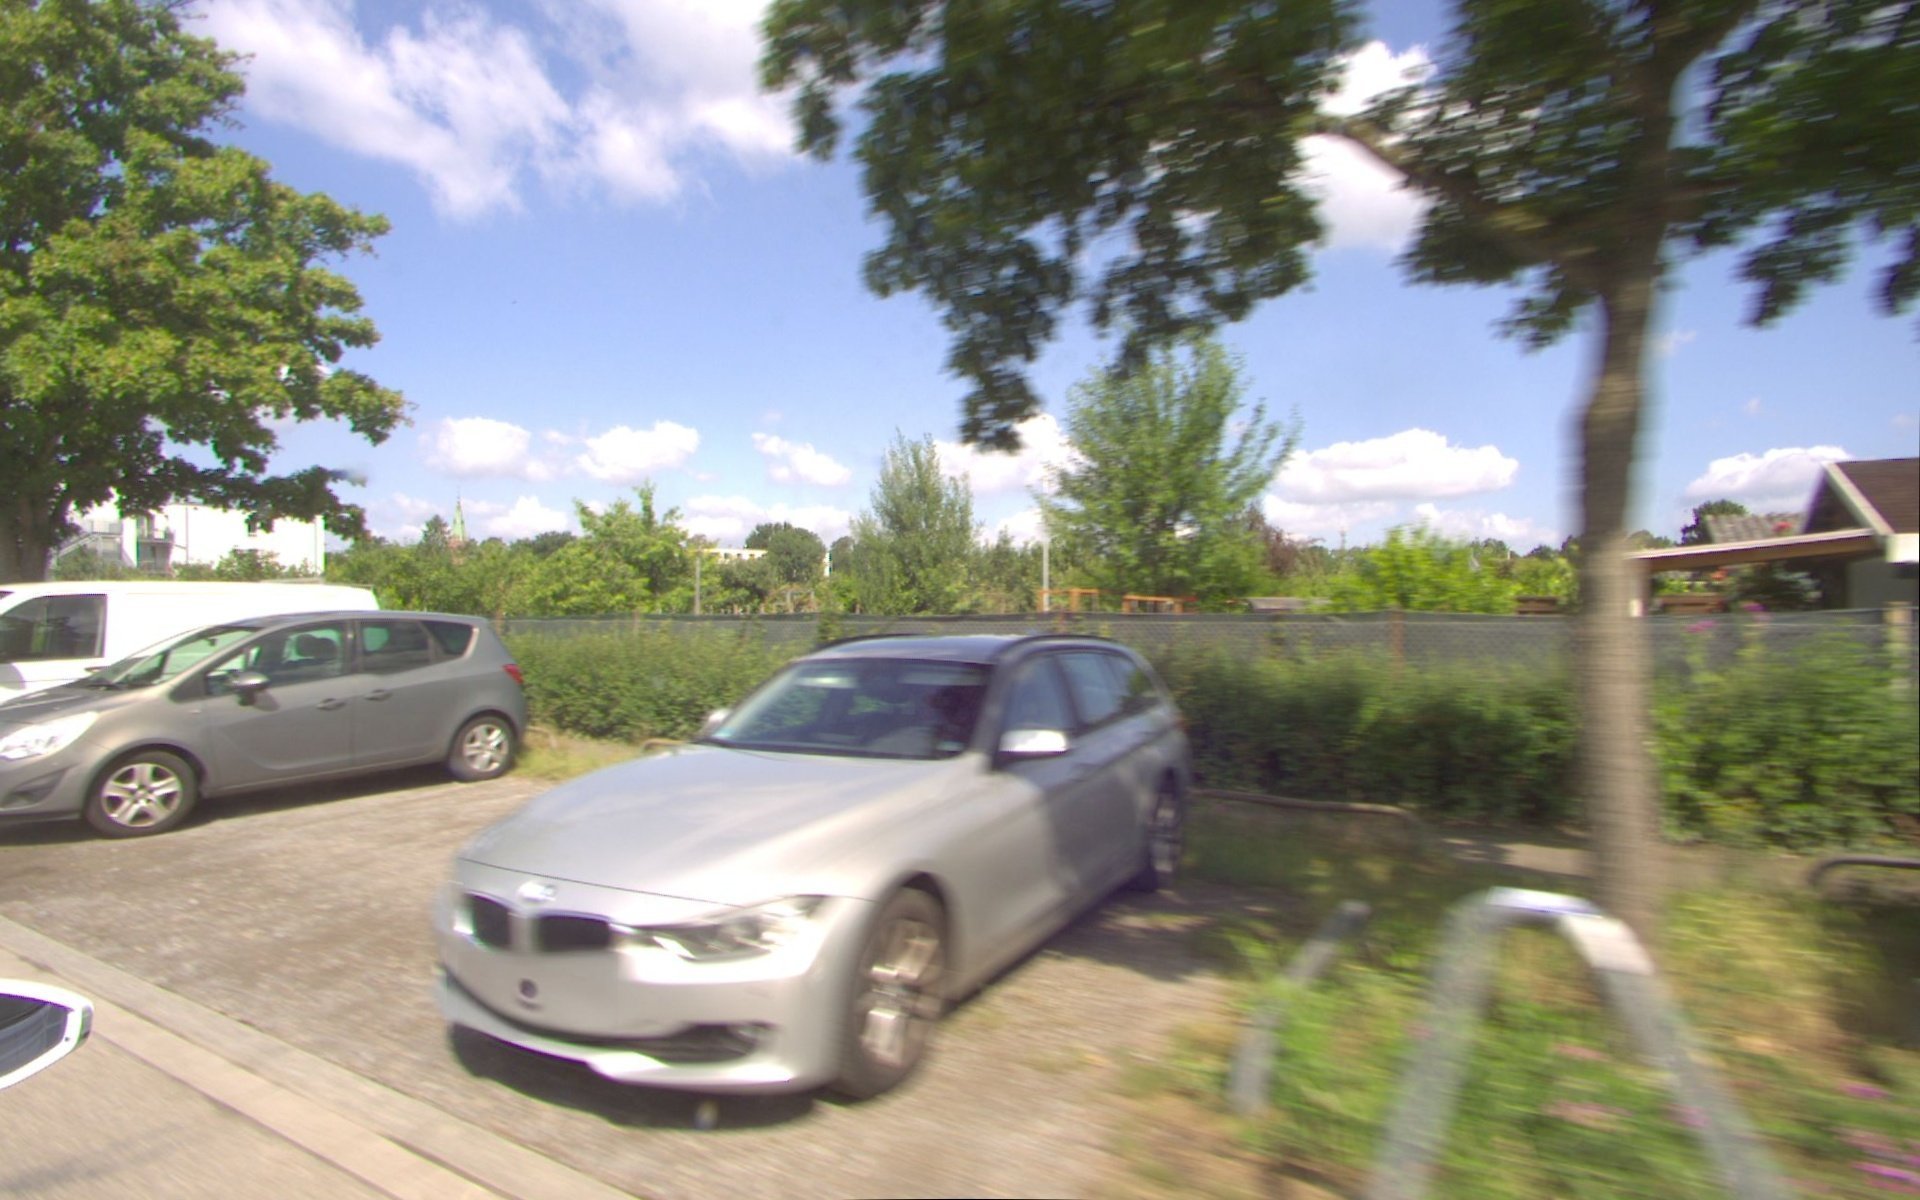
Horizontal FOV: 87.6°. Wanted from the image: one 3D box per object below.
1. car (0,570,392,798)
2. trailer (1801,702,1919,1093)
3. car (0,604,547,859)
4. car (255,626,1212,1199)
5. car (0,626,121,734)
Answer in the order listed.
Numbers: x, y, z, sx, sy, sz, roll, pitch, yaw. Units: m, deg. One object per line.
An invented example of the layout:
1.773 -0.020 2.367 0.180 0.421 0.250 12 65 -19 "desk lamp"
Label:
-8.437 0.710 9.773 2.080 1.911 4.627 0 0 30 "car"
4.132 1.003 3.047 1.972 1.157 3.095 -1 -3 32 "trailer"
-6.009 0.859 8.555 1.971 1.613 4.234 0 0 32 "car"
-0.356 0.877 4.808 1.969 1.485 4.574 0 -1 29 "car"
-14.686 1.116 14.002 1.852 1.523 4.176 -1 -3 33 "car"
